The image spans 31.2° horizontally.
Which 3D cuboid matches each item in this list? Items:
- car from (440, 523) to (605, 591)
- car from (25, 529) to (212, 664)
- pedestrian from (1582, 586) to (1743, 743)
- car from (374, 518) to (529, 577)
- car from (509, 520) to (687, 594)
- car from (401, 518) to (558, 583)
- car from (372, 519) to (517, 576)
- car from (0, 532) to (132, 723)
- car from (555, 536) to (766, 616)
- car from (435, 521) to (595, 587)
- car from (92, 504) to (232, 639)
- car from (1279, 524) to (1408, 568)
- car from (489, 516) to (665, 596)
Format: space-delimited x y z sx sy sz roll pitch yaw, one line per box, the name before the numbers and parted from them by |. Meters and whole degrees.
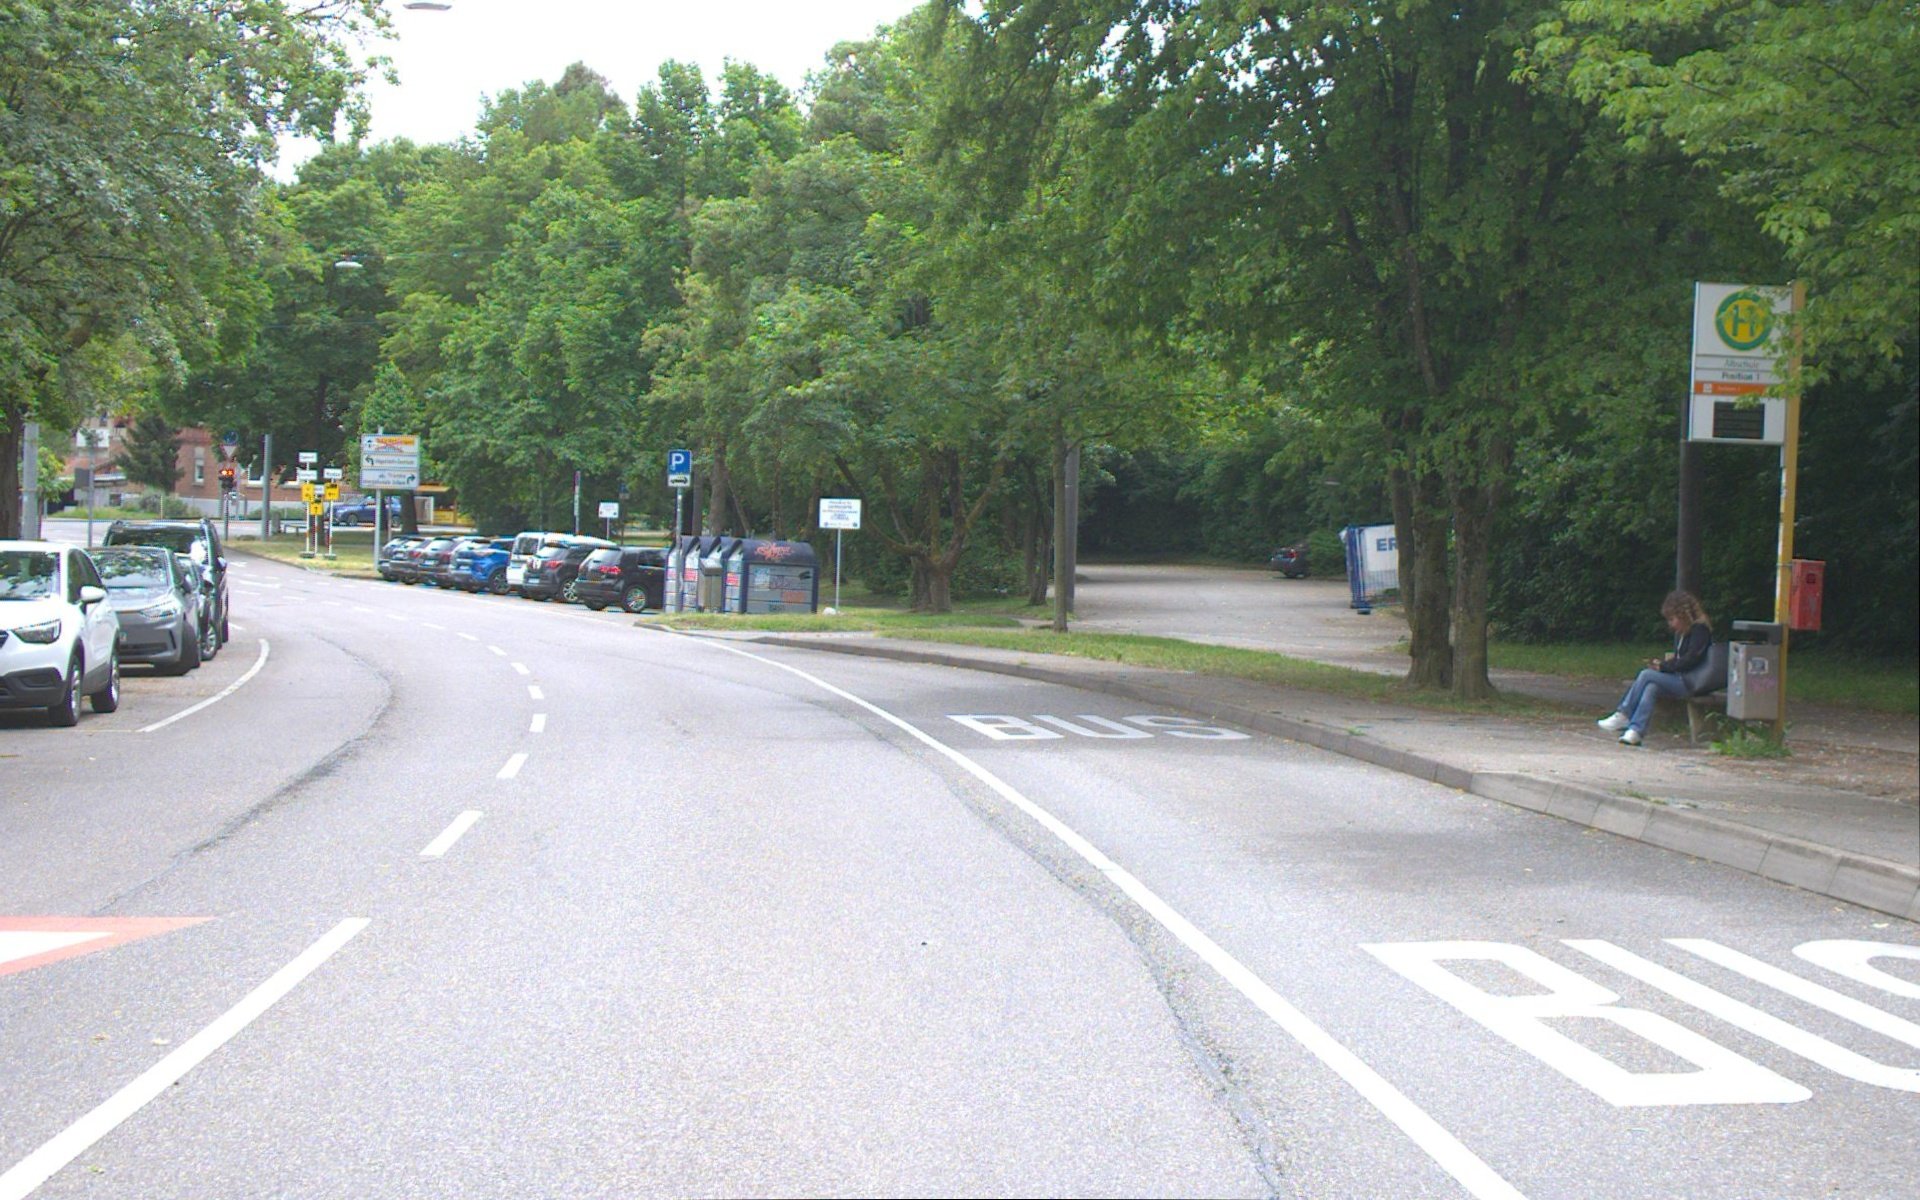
car | -11.428 -1.117 89.874 3.819 1.523 1.746 4 -1 -36
car | -10.214 -0.080 41.959 1.865 1.533 4.228 1 1 -9
pedestrian | 5.430 0.492 26.600 1.063 1.178 0.580 1 1 -8
car | -14.408 -1.481 97.420 3.873 1.421 1.830 4 -1 -36
car | -8.725 -1.033 82.864 3.819 1.463 1.746 4 1 -36
car | -13.184 -1.346 94.456 3.819 1.523 1.746 4 -1 -36
car | -15.301 -1.566 102.150 3.819 1.420 1.746 4 -1 -36
car | -8.516 0.188 30.534 1.735 1.573 4.142 0 1 -6
car | -6.510 -0.519 74.810 3.987 1.409 2.058 4 2 -36
car | -11.989 -1.244 92.717 3.819 1.523 1.746 4 -1 -36
car | -11.995 -0.463 51.918 1.857 1.902 5.084 1 1 -11
car | 13.047 -1.847 117.187 3.986 1.405 1.801 1 1 -11
car | -9.507 -1.083 85.471 3.819 1.714 1.878 4 0 -36
